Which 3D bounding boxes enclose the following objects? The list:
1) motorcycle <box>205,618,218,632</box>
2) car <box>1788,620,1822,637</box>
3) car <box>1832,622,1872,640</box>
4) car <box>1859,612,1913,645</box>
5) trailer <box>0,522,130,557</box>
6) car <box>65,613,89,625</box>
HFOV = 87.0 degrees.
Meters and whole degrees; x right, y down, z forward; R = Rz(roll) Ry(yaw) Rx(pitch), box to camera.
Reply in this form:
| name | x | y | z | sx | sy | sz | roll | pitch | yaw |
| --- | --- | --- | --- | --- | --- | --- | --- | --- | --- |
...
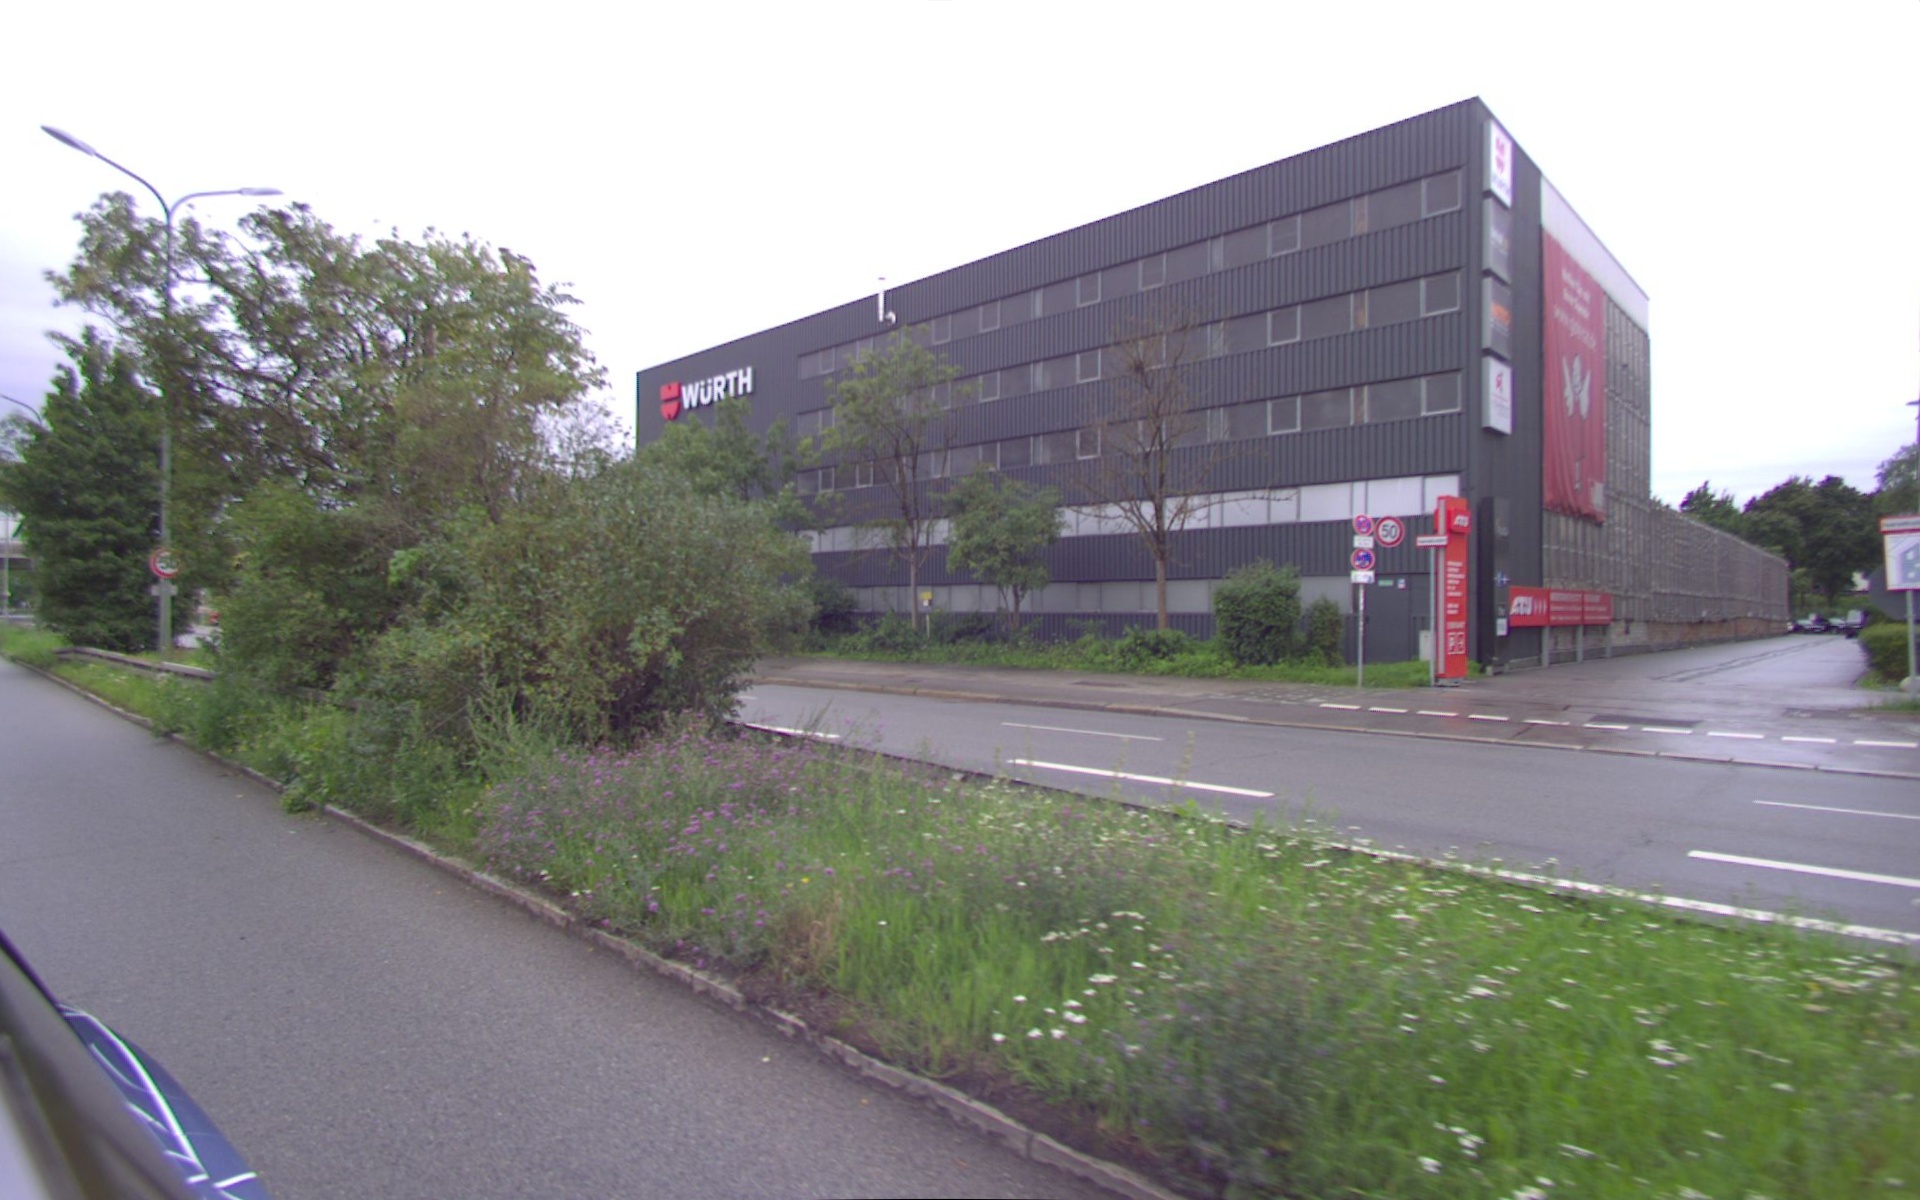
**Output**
| name | x | y | z | sx | sy | sz | roll | pitch | yaw |
| --- | --- | --- | --- | --- | --- | --- | --- | --- | --- |
| motorcycle | -68.562 | 2.271 | 92.677 | 2.196 | 1.185 | 0.527 | 0 | -1 | 43 |
| car | 80.333 | 2.714 | 96.241 | 1.994 | 1.597 | 3.955 | -1 | -1 | 33 |
| car | 83.703 | 2.918 | 95.033 | 1.992 | 1.597 | 3.960 | -1 | -1 | 29 |
| car | 52.889 | 1.588 | 57.866 | 1.998 | 1.807 | 3.947 | -1 | -1 | 39 |
| trailer | -107.980 | -7.288 | 121.162 | 13.840 | 3.323 | 2.671 | 3 | 0 | -7 |
| car | -115.559 | 2.494 | 132.403 | 4.575 | 1.584 | 1.971 | 0 | -1 | 44 |
